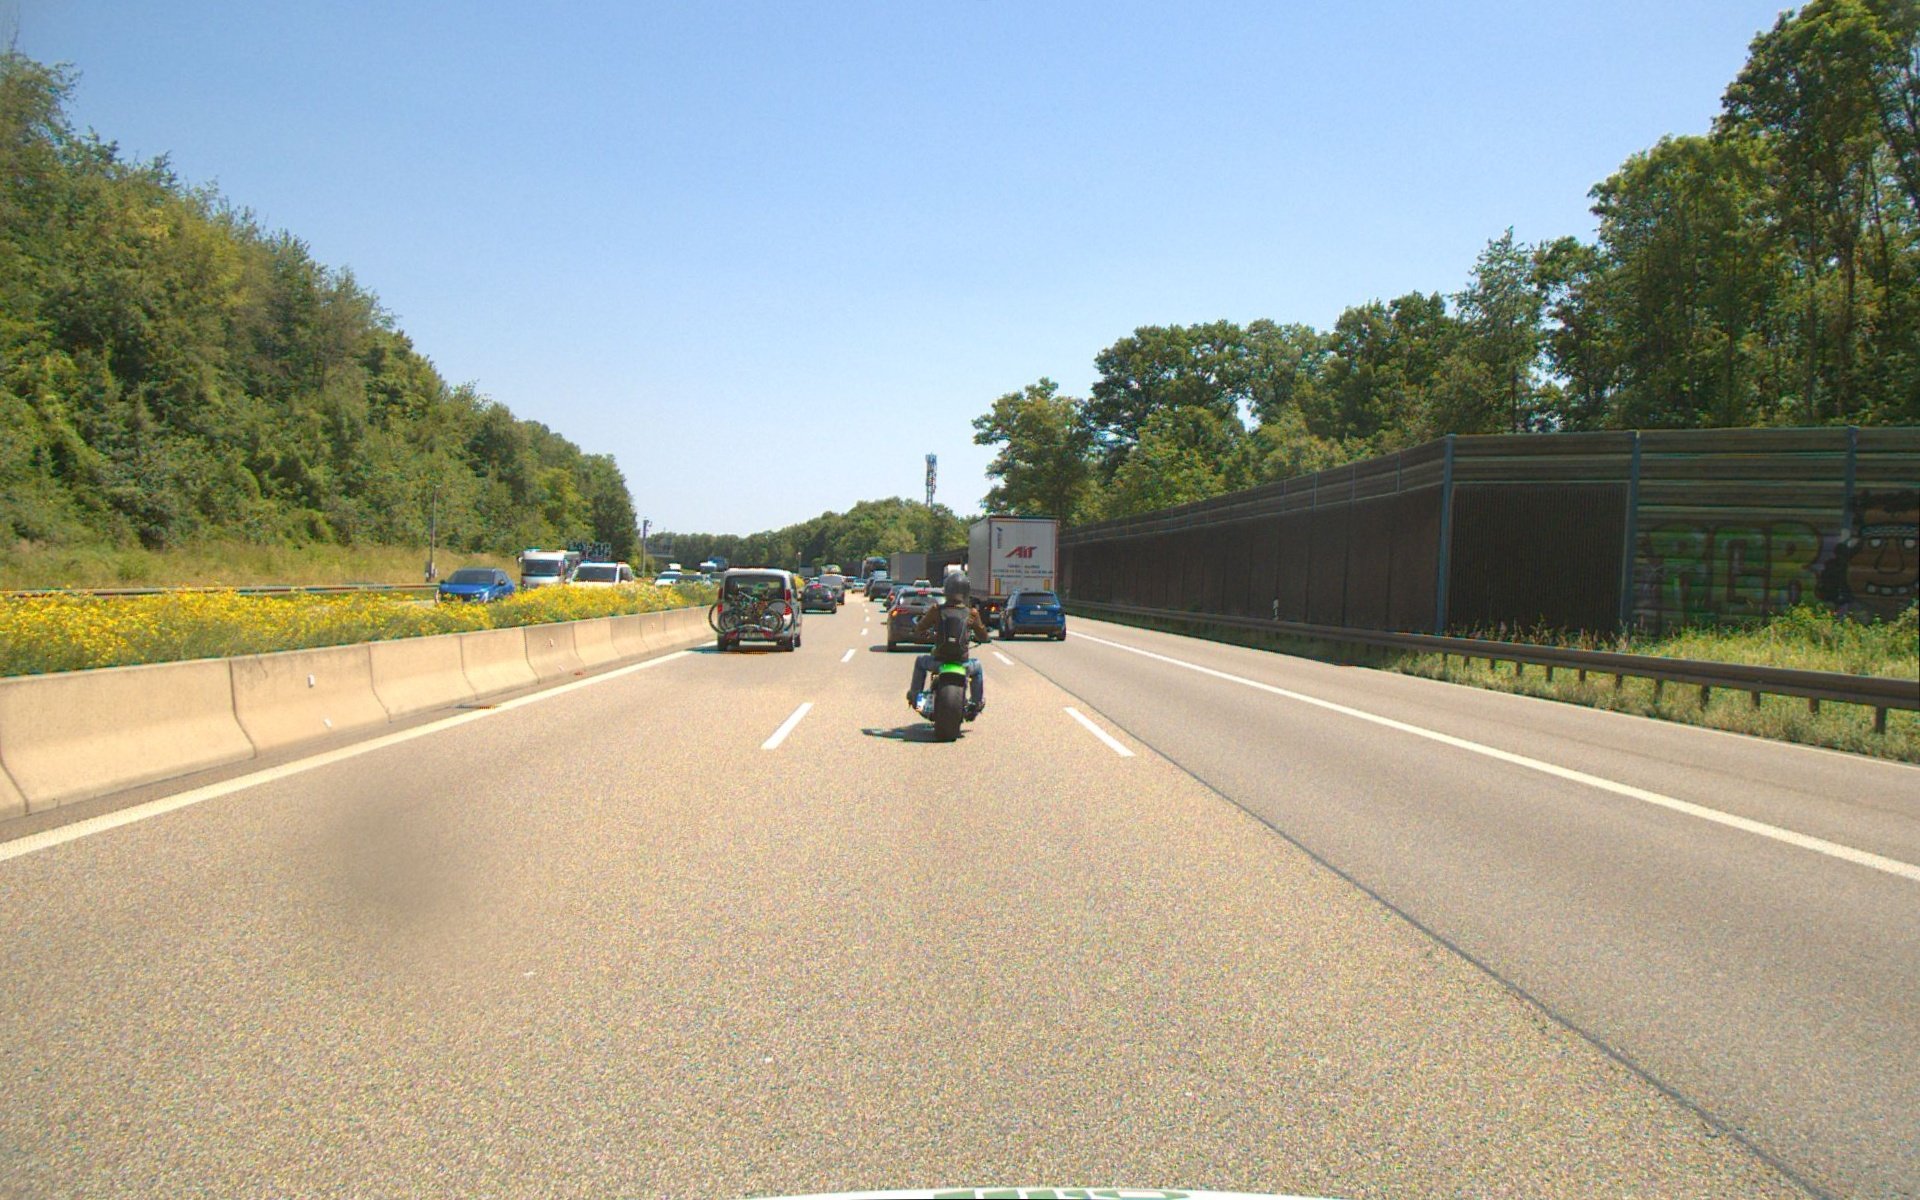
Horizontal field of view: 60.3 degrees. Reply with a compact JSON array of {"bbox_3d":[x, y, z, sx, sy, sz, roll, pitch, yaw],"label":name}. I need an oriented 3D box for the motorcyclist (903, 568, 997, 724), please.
[{"bbox_3d":[-0.075,0.452,16.998,0.881,1.501,1.872,1,-1,2],"label":"motorcyclist"}]

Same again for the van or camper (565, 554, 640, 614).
[{"bbox_3d":[-12.666,-0.536,58.864,1.845,2.049,4.585,1,0,-3],"label":"van or camper"}]

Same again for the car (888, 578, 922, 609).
[{"bbox_3d":[-2.863,-0.327,87.098,1.743,1.579,3.584,1,0,-1],"label":"car"}]

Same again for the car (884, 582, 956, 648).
[{"bbox_3d":[-0.949,0.356,39.799,1.628,1.478,3.868,1,0,-1],"label":"car"}]

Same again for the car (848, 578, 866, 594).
[{"bbox_3d":[-10.498,-1.432,169.227,1.796,1.522,3.741,1,0,-3],"label":"car"}]

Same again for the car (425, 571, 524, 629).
[{"bbox_3d":[-15.358,0.018,52.547,1.953,1.720,4.399,1,0,-2],"label":"car"}]

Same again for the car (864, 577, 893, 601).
[{"bbox_3d":[-5.914,-0.756,120.396,1.953,1.669,3.998,1,0,-2],"label":"car"}]

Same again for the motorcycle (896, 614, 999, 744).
[{"bbox_3d":[-0.088,0.768,17.221,0.944,1.168,2.812,1,1,2],"label":"motorcycle"}]

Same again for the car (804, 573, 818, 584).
[{"bbox_3d":[-22.045,-3.114,244.845,1.798,1.522,3.737,1,0,-8],"label":"car"}]

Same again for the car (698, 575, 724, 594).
[{"bbox_3d":[-22.584,-1.416,150.088,1.954,1.618,4.160,1,0,-3],"label":"car"}]

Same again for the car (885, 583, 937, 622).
[{"bbox_3d":[-1.954,0.098,65.059,1.953,1.455,3.845,1,0,-2],"label":"car"}]

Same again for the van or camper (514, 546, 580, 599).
[{"bbox_3d":[-21.603,-1.400,86.815,2.143,2.605,6.926,1,0,-4],"label":"van or camper"}]

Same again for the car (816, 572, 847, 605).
[{"bbox_3d":[-8.118,-0.716,104.950,1.755,2.049,3.640,1,0,-2],"label":"car"}]

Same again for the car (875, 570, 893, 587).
[{"bbox_3d":[-9.429,-2.644,204.129,2.067,1.909,3.995,1,0,-5],"label":"car"}]

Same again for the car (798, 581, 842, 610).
[{"bbox_3d":[-6.869,-0.200,81.566,1.954,1.411,3.998,1,0,-3],"label":"car"}]

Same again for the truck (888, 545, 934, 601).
[{"bbox_3d":[-4.737,-2.479,157.334,3.729,5.046,8.939,1,0,-6],"label":"truck"}]

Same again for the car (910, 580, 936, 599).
[{"bbox_3d":[-3.157,-0.895,141.709,1.955,1.601,3.996,1,0,-5],"label":"car"}]

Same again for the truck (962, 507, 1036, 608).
[{"bbox_3d":[1.657,-1.806,72.729,2.828,4.218,5.983,1,1,-2],"label":"truck"}]

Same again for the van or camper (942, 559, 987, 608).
[{"bbox_3d":[0.254,-0.970,101.741,2.630,2.862,6.801,1,0,-1],"label":"van or camper"}]

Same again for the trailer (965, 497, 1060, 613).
[{"bbox_3d":[1.902,-1.694,65.897,2.828,4.109,13.790,1,1,-2],"label":"trailer"}]

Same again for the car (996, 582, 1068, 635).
[{"bbox_3d":[2.113,0.263,49.574,1.618,1.508,4.477,1,0,-4],"label":"car"}]

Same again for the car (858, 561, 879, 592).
[{"bbox_3d":[-12.108,-3.072,218.077,2.093,3.929,8.130,1,1,-7],"label":"car"}]

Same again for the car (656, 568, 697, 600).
[{"bbox_3d":[-18.973,-1.058,110.764,1.953,2.049,4.567,1,0,0],"label":"car"}]

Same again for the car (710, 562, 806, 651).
[{"bbox_3d":[-4.587,0.155,38.107,1.861,1.906,4.409,1,0,-3],"label":"car"}]

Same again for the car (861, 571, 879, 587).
[{"bbox_3d":[-11.440,-2.704,209.606,2.067,1.909,3.995,1,0,-5],"label":"car"}]

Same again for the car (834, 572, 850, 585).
[{"bbox_3d":[-13.981,-2.557,196.585,1.796,1.522,3.741,1,0,-3],"label":"car"}]
